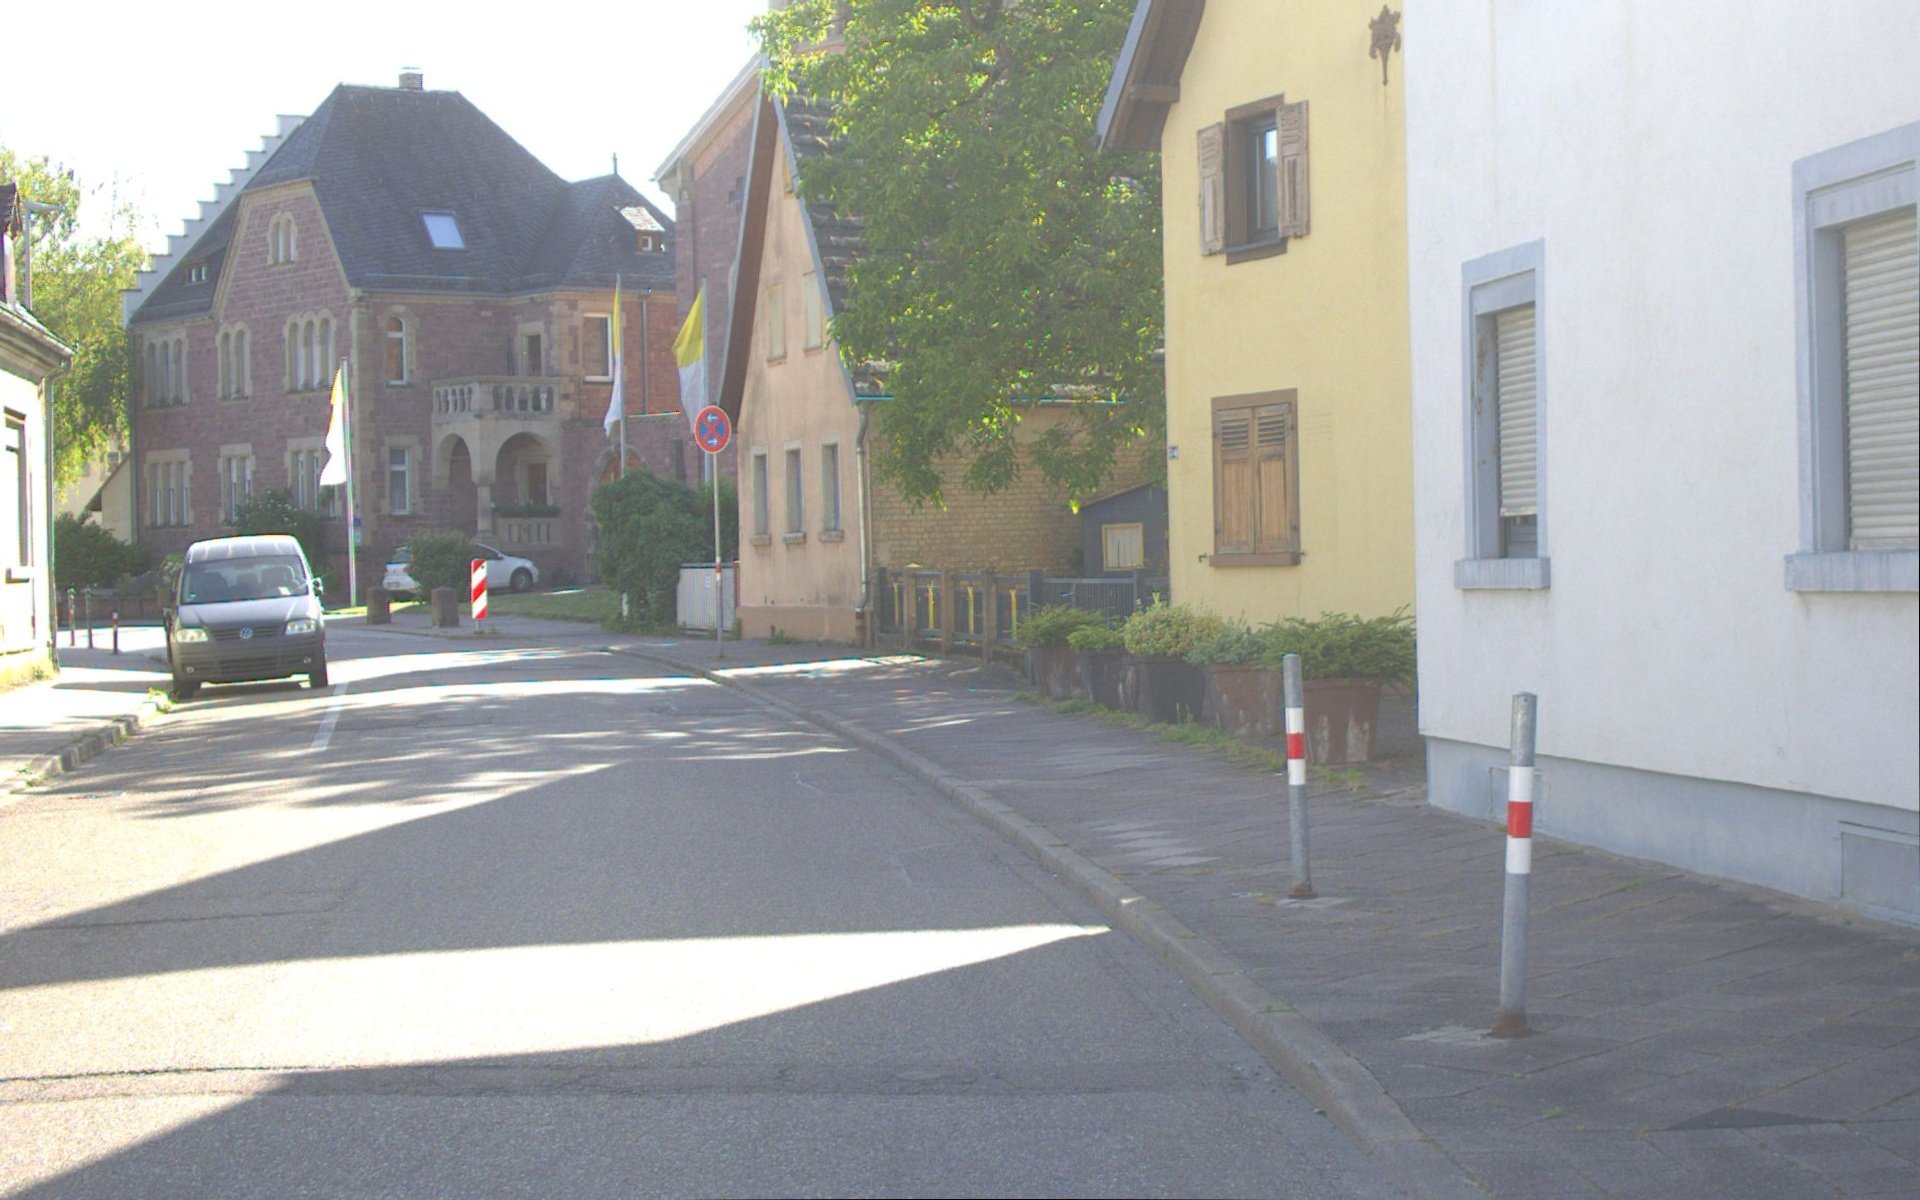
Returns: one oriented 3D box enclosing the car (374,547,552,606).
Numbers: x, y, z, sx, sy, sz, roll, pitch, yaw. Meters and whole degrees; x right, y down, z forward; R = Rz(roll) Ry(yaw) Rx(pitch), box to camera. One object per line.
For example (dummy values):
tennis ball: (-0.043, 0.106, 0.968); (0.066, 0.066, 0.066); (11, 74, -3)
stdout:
car: (-12.781, -0.603, 88.474); (4.235, 1.396, 1.717); (-2, 1, -40)

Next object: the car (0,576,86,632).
car: (-24.733, 0.099, 90.476); (1.713, 1.396, 4.246); (-2, 1, -39)

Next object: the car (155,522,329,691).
car: (-8.490, 0.028, 40.862); (1.825, 1.808, 4.203); (-3, 2, -11)
